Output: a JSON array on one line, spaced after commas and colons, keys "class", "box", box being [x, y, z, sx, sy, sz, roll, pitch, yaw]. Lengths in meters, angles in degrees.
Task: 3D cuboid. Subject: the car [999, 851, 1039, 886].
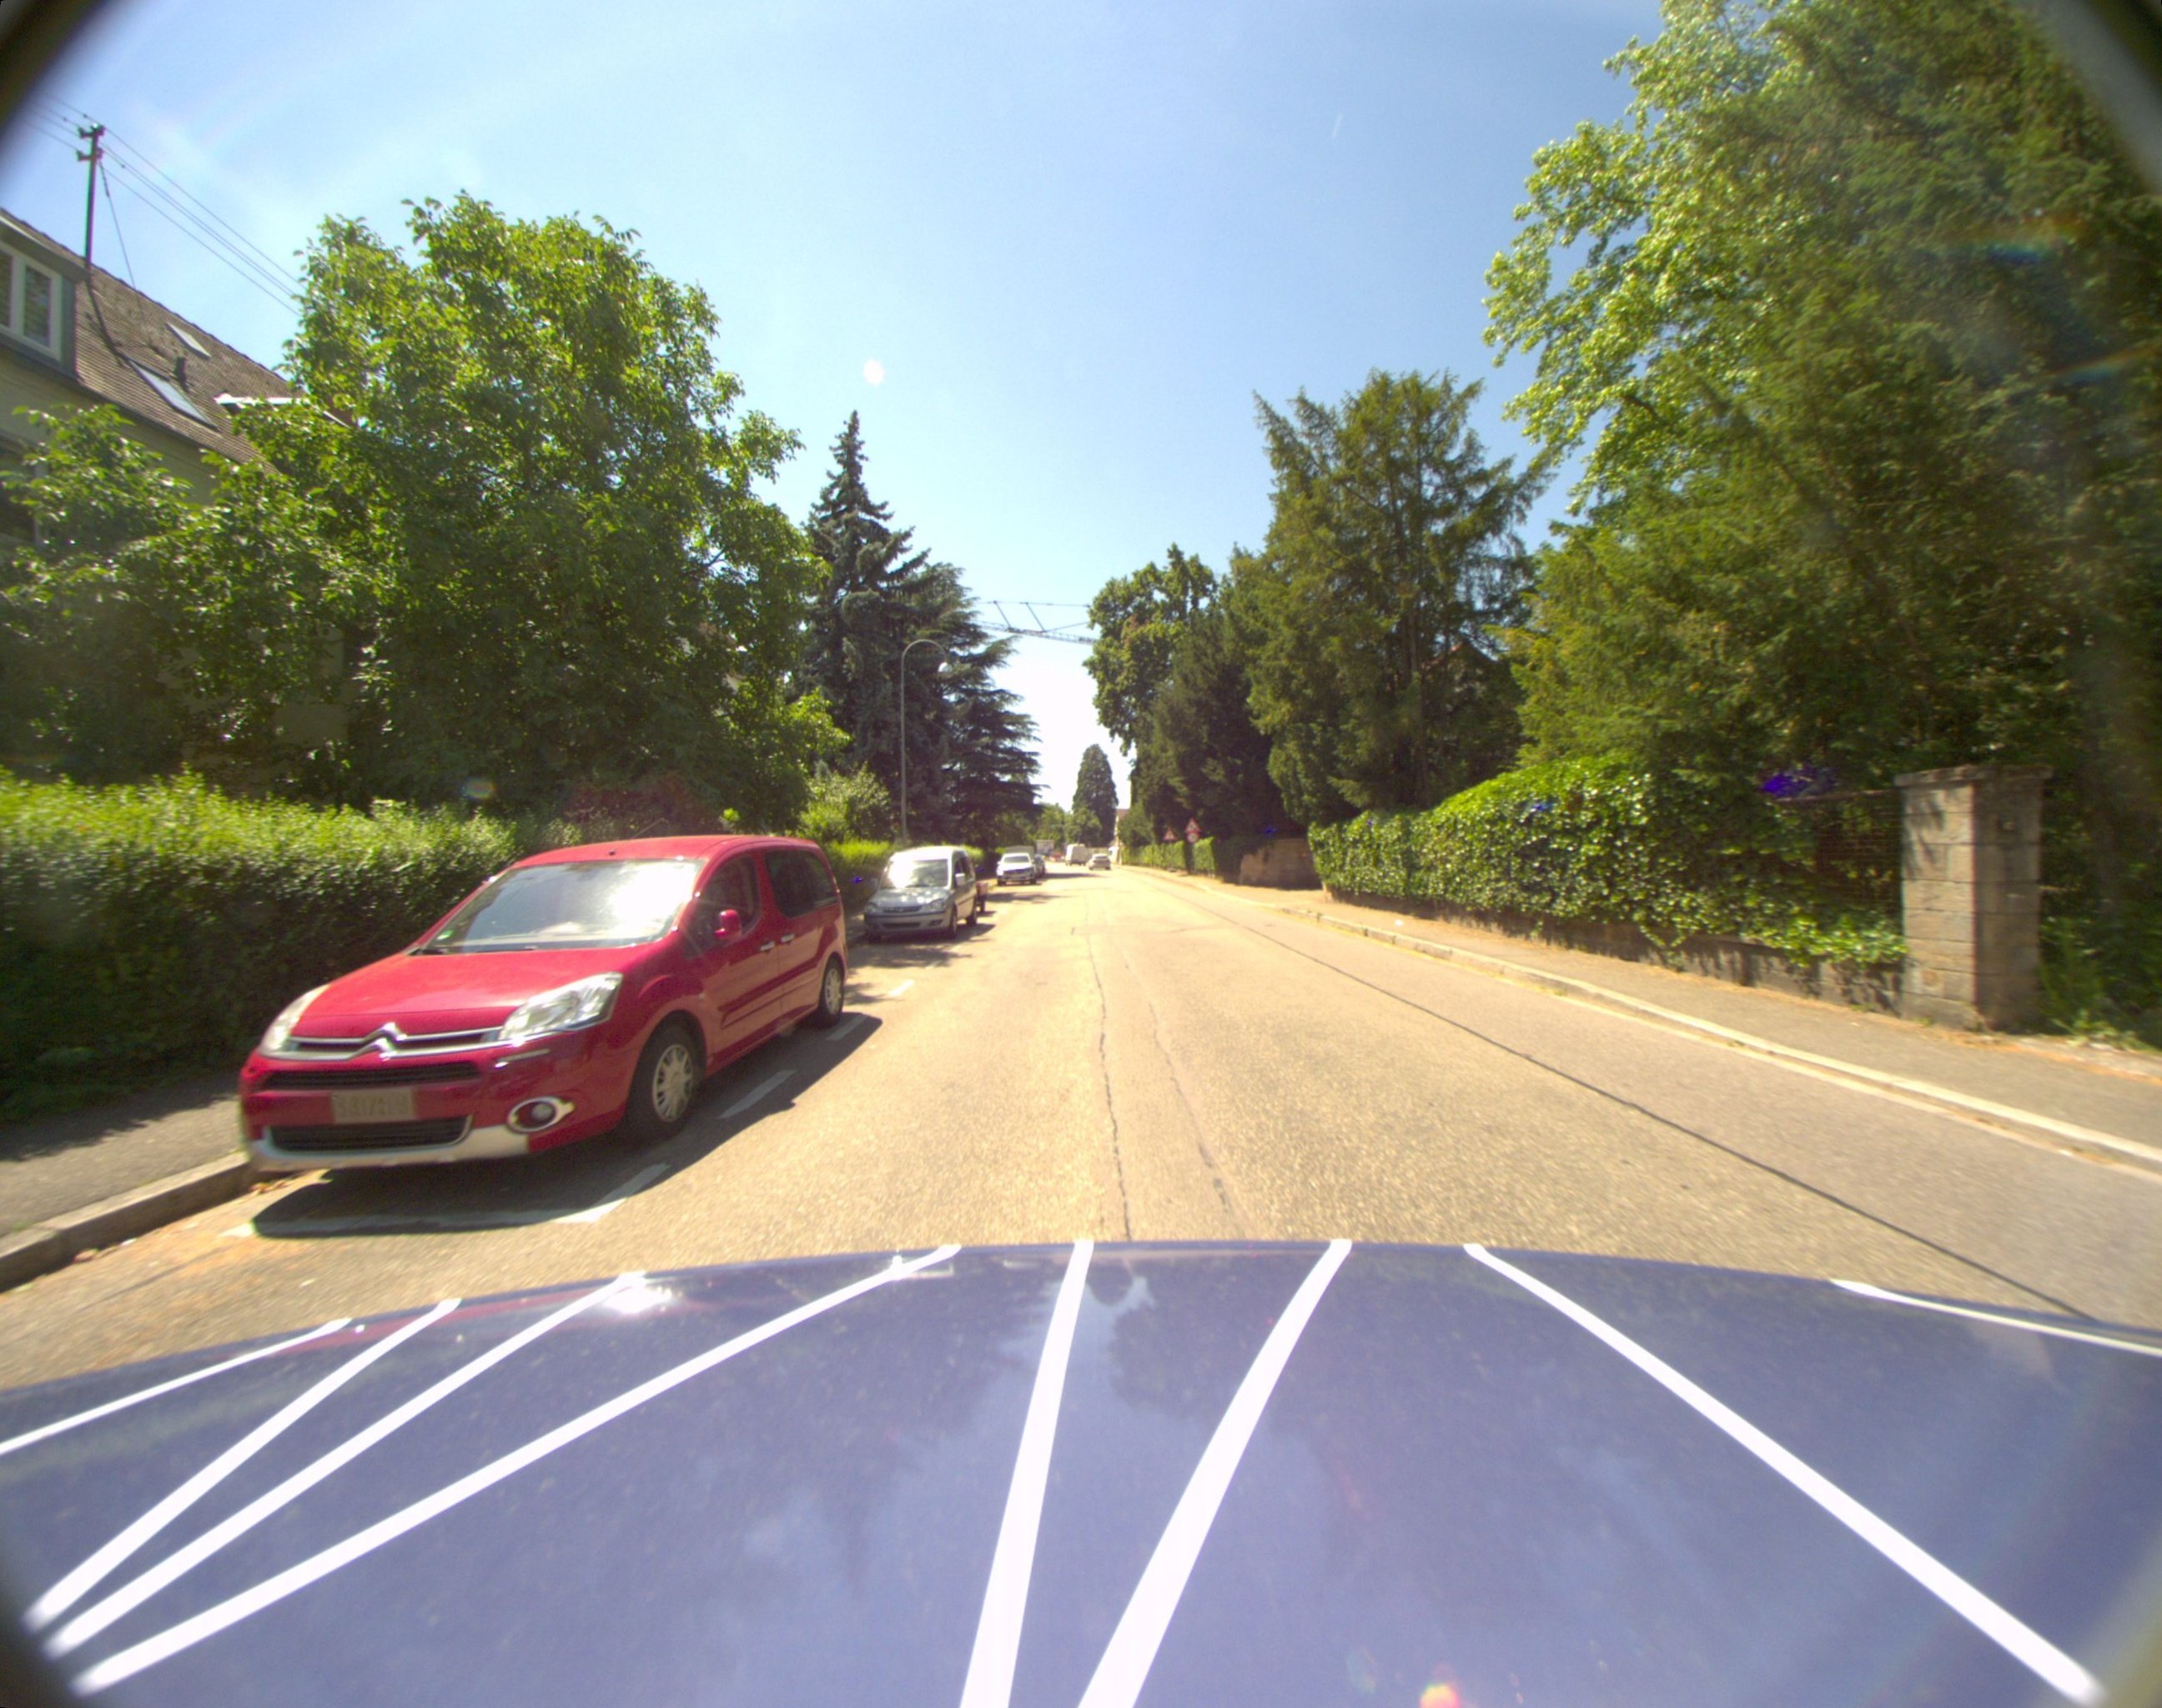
[{"class": "car", "box": [-3.195, 0.721, 39.776, 1.776, 1.622, 4.603, -3, 0, -2]}]

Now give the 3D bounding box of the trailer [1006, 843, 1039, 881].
[{"class": "trailer", "box": [-3.443, 0.433, 45.228, 1.684, 2.056, 3.706, -3, 1, -2]}]

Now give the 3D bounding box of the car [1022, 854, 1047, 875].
[{"class": "car", "box": [-3.356, 0.727, 55.713, 1.619, 1.461, 4.063, -2, 0, -1]}]

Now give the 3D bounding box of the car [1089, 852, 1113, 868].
[{"class": "car", "box": [1.780, 0.516, 68.891, 1.869, 1.375, 4.603, 0, 0, -2]}]

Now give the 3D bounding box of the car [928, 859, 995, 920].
[{"class": "car", "box": [-3.212, 0.915, 20.768, 1.263, 1.487, 2.709, -3, 0, 2]}]

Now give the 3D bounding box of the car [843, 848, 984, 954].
[{"class": "car", "box": [-3.186, 0.800, 15.400, 1.750, 1.772, 4.543, -3, 0, 0]}]

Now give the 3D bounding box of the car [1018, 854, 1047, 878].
[{"class": "car", "box": [-3.148, 0.733, 49.932, 1.619, 1.388, 4.257, -2, 1, -1]}]

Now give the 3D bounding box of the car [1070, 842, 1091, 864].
[{"class": "car", "box": [-0.099, -0.128, 93.066, 2.000, 2.518, 5.891, -1, 0, -6]}]

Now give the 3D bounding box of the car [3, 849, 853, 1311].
[{"class": "car", "box": [-3.209, 0.877, 5.179, 1.908, 1.718, 4.390, -3, 1, 0]}]
